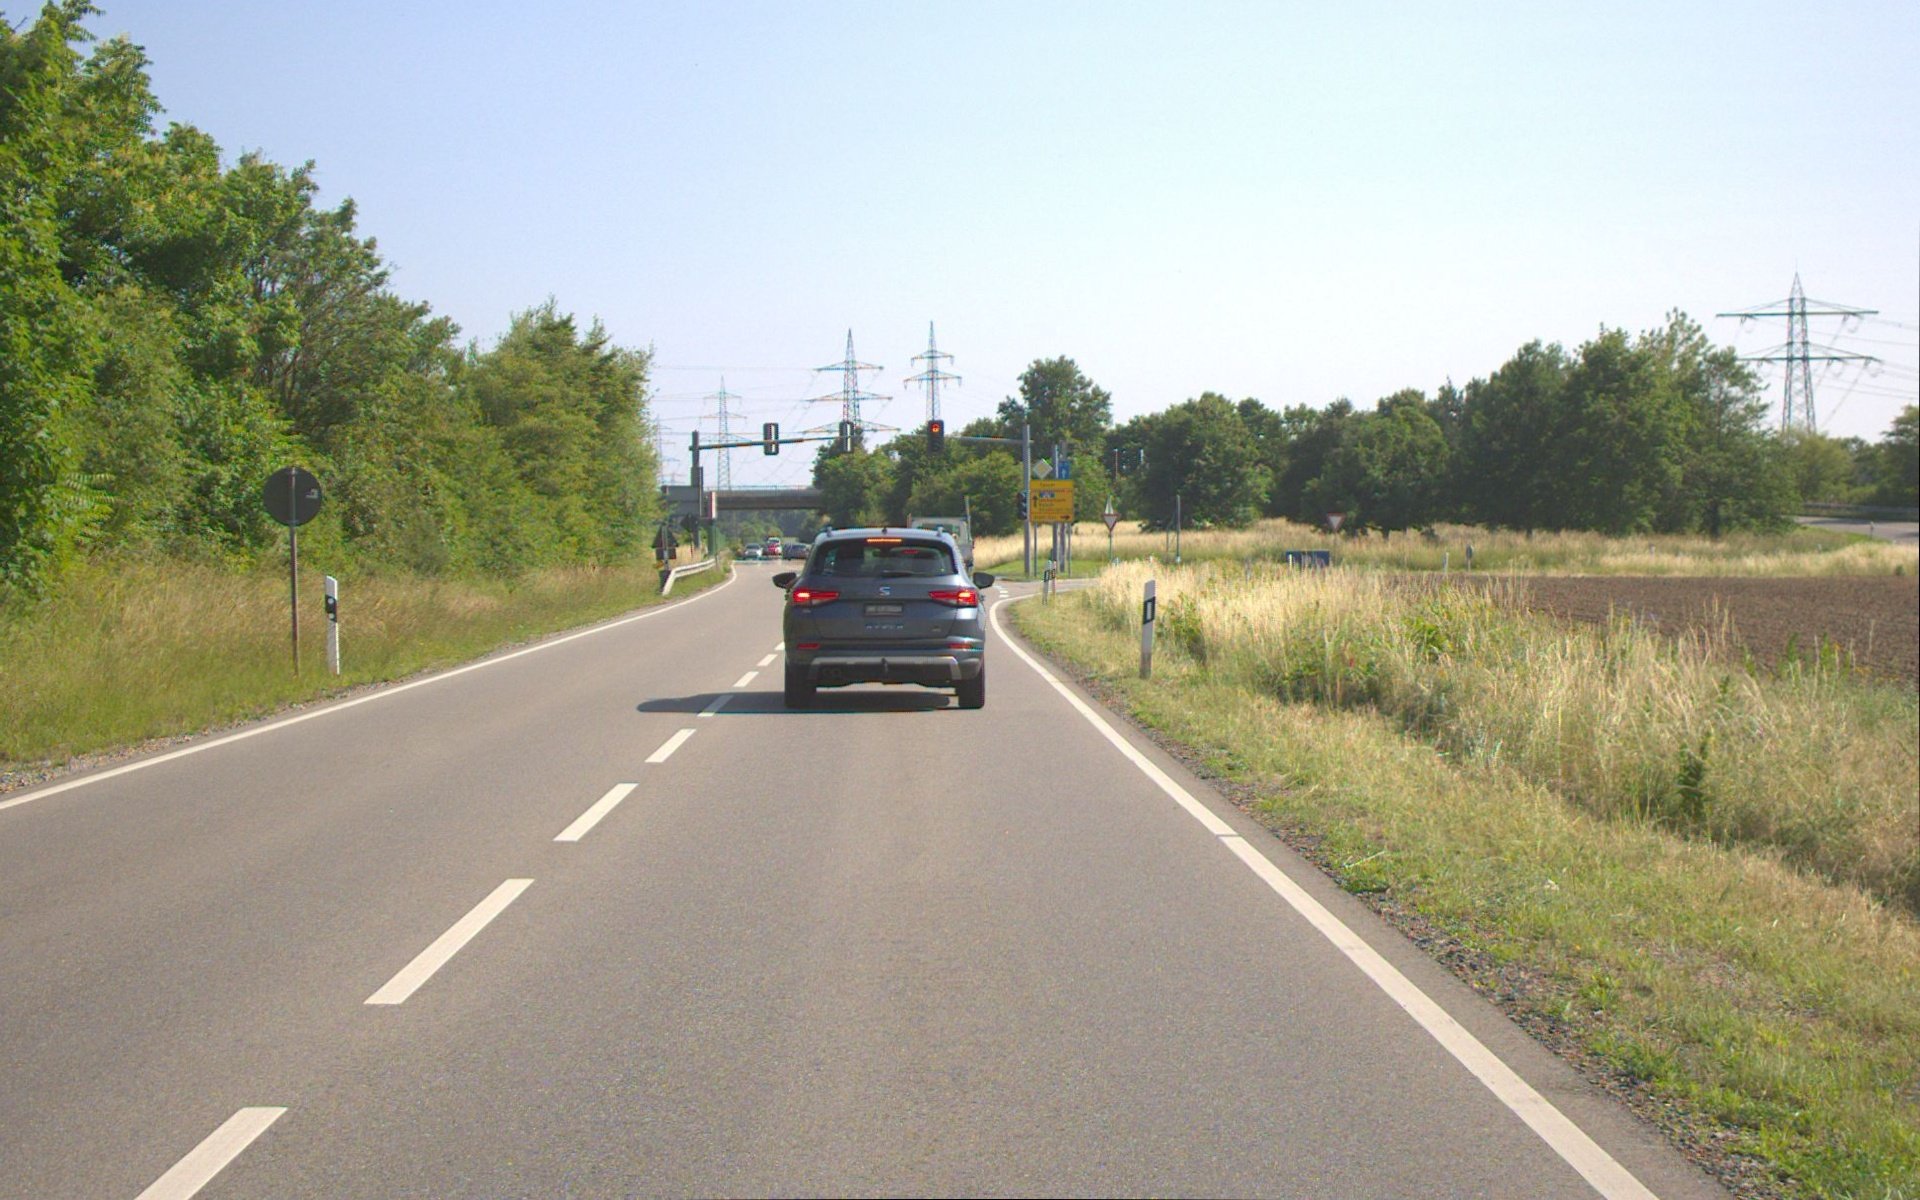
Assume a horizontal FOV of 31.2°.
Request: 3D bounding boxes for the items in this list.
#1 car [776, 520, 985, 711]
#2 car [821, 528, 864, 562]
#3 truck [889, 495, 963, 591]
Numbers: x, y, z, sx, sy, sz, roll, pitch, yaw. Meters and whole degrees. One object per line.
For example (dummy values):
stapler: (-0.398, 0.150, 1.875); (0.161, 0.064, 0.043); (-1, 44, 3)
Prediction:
car: (-0.718, 0.087, 31.464); (1.785, 1.623, 4.000); (0, 1, -1)
car: (-5.482, -2.574, 159.674); (1.816, 1.535, 4.001); (-1, 1, -4)
truck: (-1.093, -1.847, 112.618); (2.337, 3.055, 5.810); (0, 1, 0)
